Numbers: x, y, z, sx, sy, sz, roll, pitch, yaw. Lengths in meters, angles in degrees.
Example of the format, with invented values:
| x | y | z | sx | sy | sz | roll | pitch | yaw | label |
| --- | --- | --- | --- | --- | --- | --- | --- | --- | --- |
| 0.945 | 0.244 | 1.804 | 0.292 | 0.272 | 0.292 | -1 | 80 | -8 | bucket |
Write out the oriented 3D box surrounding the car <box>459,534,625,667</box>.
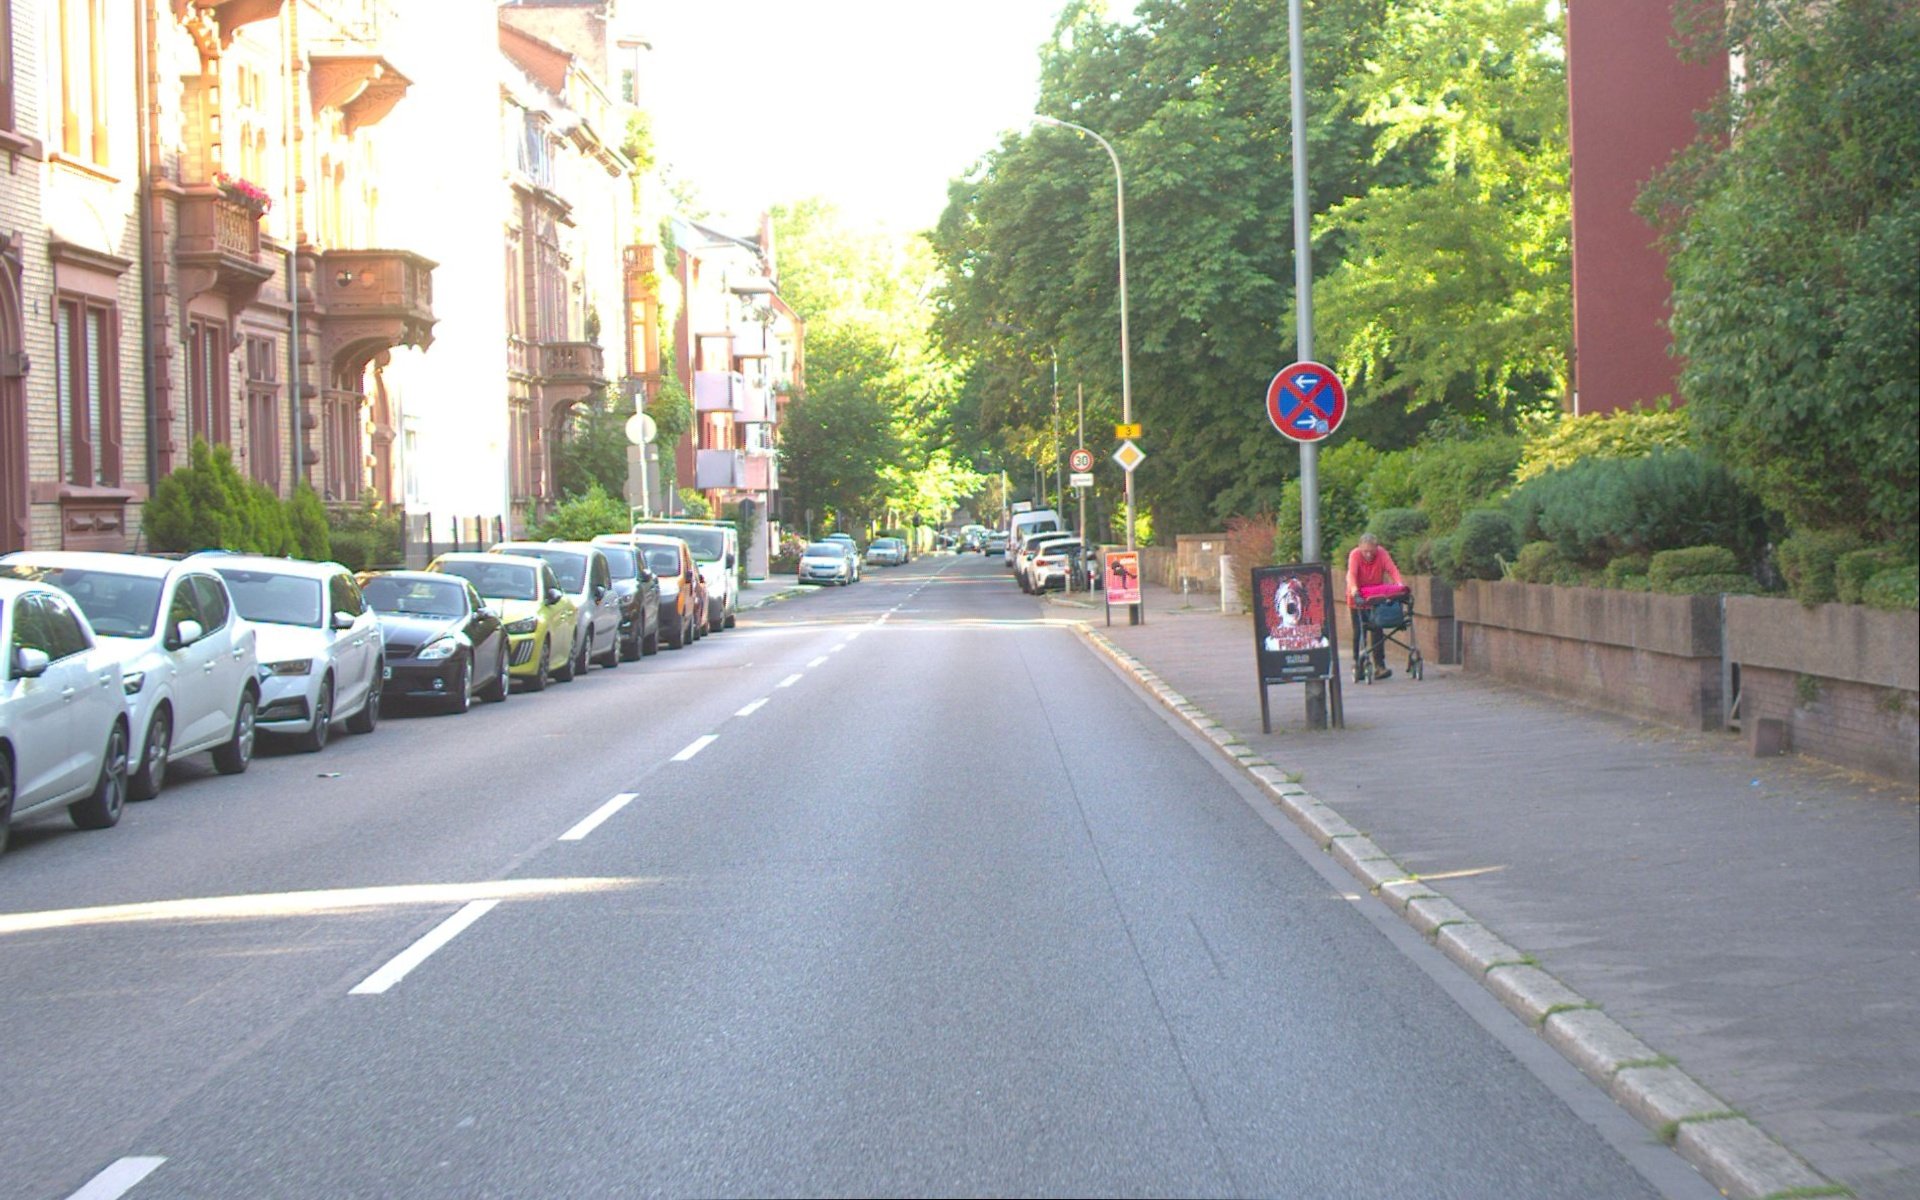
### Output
| x | y | z | sx | sy | sz | roll | pitch | yaw | label |
| --- | --- | --- | --- | --- | --- | --- | --- | --- | --- |
| -5.240 | -0.026 | 43.433 | 1.702 | 1.578 | 3.635 | 0 | 1 | -1 | car |

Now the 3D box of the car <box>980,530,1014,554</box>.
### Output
| x | y | z | sx | sy | sz | roll | pitch | yaw | label |
| --- | --- | --- | --- | --- | --- | --- | --- | --- | --- |
| 2.472 | -3.862 | 228.986 | 1.993 | 1.486 | 4.471 | -2 | 2 | -3 | car |

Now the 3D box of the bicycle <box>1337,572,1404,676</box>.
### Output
| x | y | z | sx | sy | sz | roll | pitch | yaw | label |
| --- | --- | --- | --- | --- | --- | --- | --- | --- | --- |
| 3.899 | 0.225 | 32.657 | 0.566 | 0.967 | 0.492 | 0 | 2 | 0 | bicycle |

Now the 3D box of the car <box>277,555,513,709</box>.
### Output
| x | y | z | sx | sy | sz | roll | pitch | yaw | label |
| --- | --- | --- | --- | --- | --- | --- | --- | --- | --- |
| -5.416 | 0.266 | 33.350 | 1.702 | 1.362 | 3.860 | 0 | 1 | -1 | car |

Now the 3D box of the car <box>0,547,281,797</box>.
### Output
| x | y | z | sx | sy | sz | roll | pitch | yaw | label |
| --- | --- | --- | --- | --- | --- | --- | --- | --- | --- |
| -5.857 | 0.413 | 23.225 | 1.702 | 1.497 | 4.021 | 0 | 1 | 1 | car |

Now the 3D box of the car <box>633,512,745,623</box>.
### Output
| x | y | z | sx | sy | sz | roll | pitch | yaw | label |
| --- | --- | --- | --- | --- | --- | --- | --- | --- | --- |
| -5.040 | -0.642 | 64.402 | 1.793 | 2.003 | 4.698 | 0 | 1 | -1 | car |

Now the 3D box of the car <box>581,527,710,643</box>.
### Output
| x | y | z | sx | sy | sz | roll | pitch | yaw | label |
| --- | --- | --- | --- | --- | --- | --- | --- | --- | --- |
| -4.865 | -0.265 | 53.558 | 1.702 | 1.732 | 3.857 | 0 | 1 | -1 | car |

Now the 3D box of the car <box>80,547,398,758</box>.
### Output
| x | y | z | sx | sy | sz | roll | pitch | yaw | label |
| --- | --- | --- | --- | --- | --- | --- | --- | --- | --- |
| -5.791 | 0.361 | 28.118 | 1.702 | 1.531 | 4.550 | 0 | 1 | -1 | car |

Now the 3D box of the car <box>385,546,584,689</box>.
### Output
| x | y | z | sx | sy | sz | roll | pitch | yaw | label |
| --- | --- | --- | --- | --- | --- | --- | --- | --- | --- |
| -5.253 | 0.184 | 38.426 | 1.702 | 1.498 | 4.072 | 0 | 0 | -1 | car |

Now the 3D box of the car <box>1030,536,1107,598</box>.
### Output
| x | y | z | sx | sy | sz | roll | pitch | yaw | label |
| --- | --- | --- | --- | --- | --- | --- | --- | --- | --- |
| 2.939 | -0.899 | 92.740 | 1.993 | 1.512 | 4.000 | -2 | 2 | 2 | car |

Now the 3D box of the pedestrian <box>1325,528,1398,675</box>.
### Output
| x | y | z | sx | sy | sz | roll | pitch | yaw | label |
| --- | --- | --- | --- | --- | --- | --- | --- | --- | --- |
| 3.879 | 0.010 | 33.250 | 0.597 | 1.398 | 0.668 | 0 | 2 | -1 | pedestrian |

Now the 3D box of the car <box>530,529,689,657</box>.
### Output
| x | y | z | sx | sy | sz | roll | pitch | yaw | label |
| --- | --- | --- | --- | --- | --- | --- | --- | --- | --- |
| -4.877 | -0.141 | 48.327 | 1.702 | 1.702 | 4.440 | 0 | 1 | 1 | car |

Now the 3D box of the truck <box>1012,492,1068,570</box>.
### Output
| x | y | z | sx | sy | sz | roll | pitch | yaw | label |
| --- | --- | --- | --- | --- | --- | --- | --- | --- | --- |
| 3.114 | -2.721 | 134.156 | 1.993 | 2.887 | 4.471 | -2 | 2 | 0 | truck |

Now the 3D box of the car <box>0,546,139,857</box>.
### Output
| x | y | z | sx | sy | sz | roll | pitch | yaw | label |
| --- | --- | --- | --- | --- | --- | --- | --- | --- | --- |
| -5.573 | 0.482 | 17.970 | 1.702 | 1.497 | 3.823 | 0 | 1 | -1 | car |

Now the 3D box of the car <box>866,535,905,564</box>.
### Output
| x | y | z | sx | sy | sz | roll | pitch | yaw | label |
| --- | --- | --- | --- | --- | --- | --- | --- | --- | --- |
| -4.148 | -2.838 | 192.115 | 1.993 | 1.486 | 4.471 | -2 | 2 | 0 | car |

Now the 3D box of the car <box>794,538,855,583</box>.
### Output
| x | y | z | sx | sy | sz | roll | pitch | yaw | label |
| --- | --- | --- | --- | --- | --- | --- | --- | --- | --- |
| -4.917 | -1.464 | 125.546 | 1.993 | 1.486 | 4.471 | -2 | 2 | 0 | car |

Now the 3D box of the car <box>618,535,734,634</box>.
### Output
| x | y | z | sx | sy | sz | roll | pitch | yaw | label |
| --- | --- | --- | --- | --- | --- | --- | --- | --- | --- |
| -4.859 | -0.294 | 59.207 | 1.702 | 1.614 | 4.118 | 0 | 1 | -1 | car |
